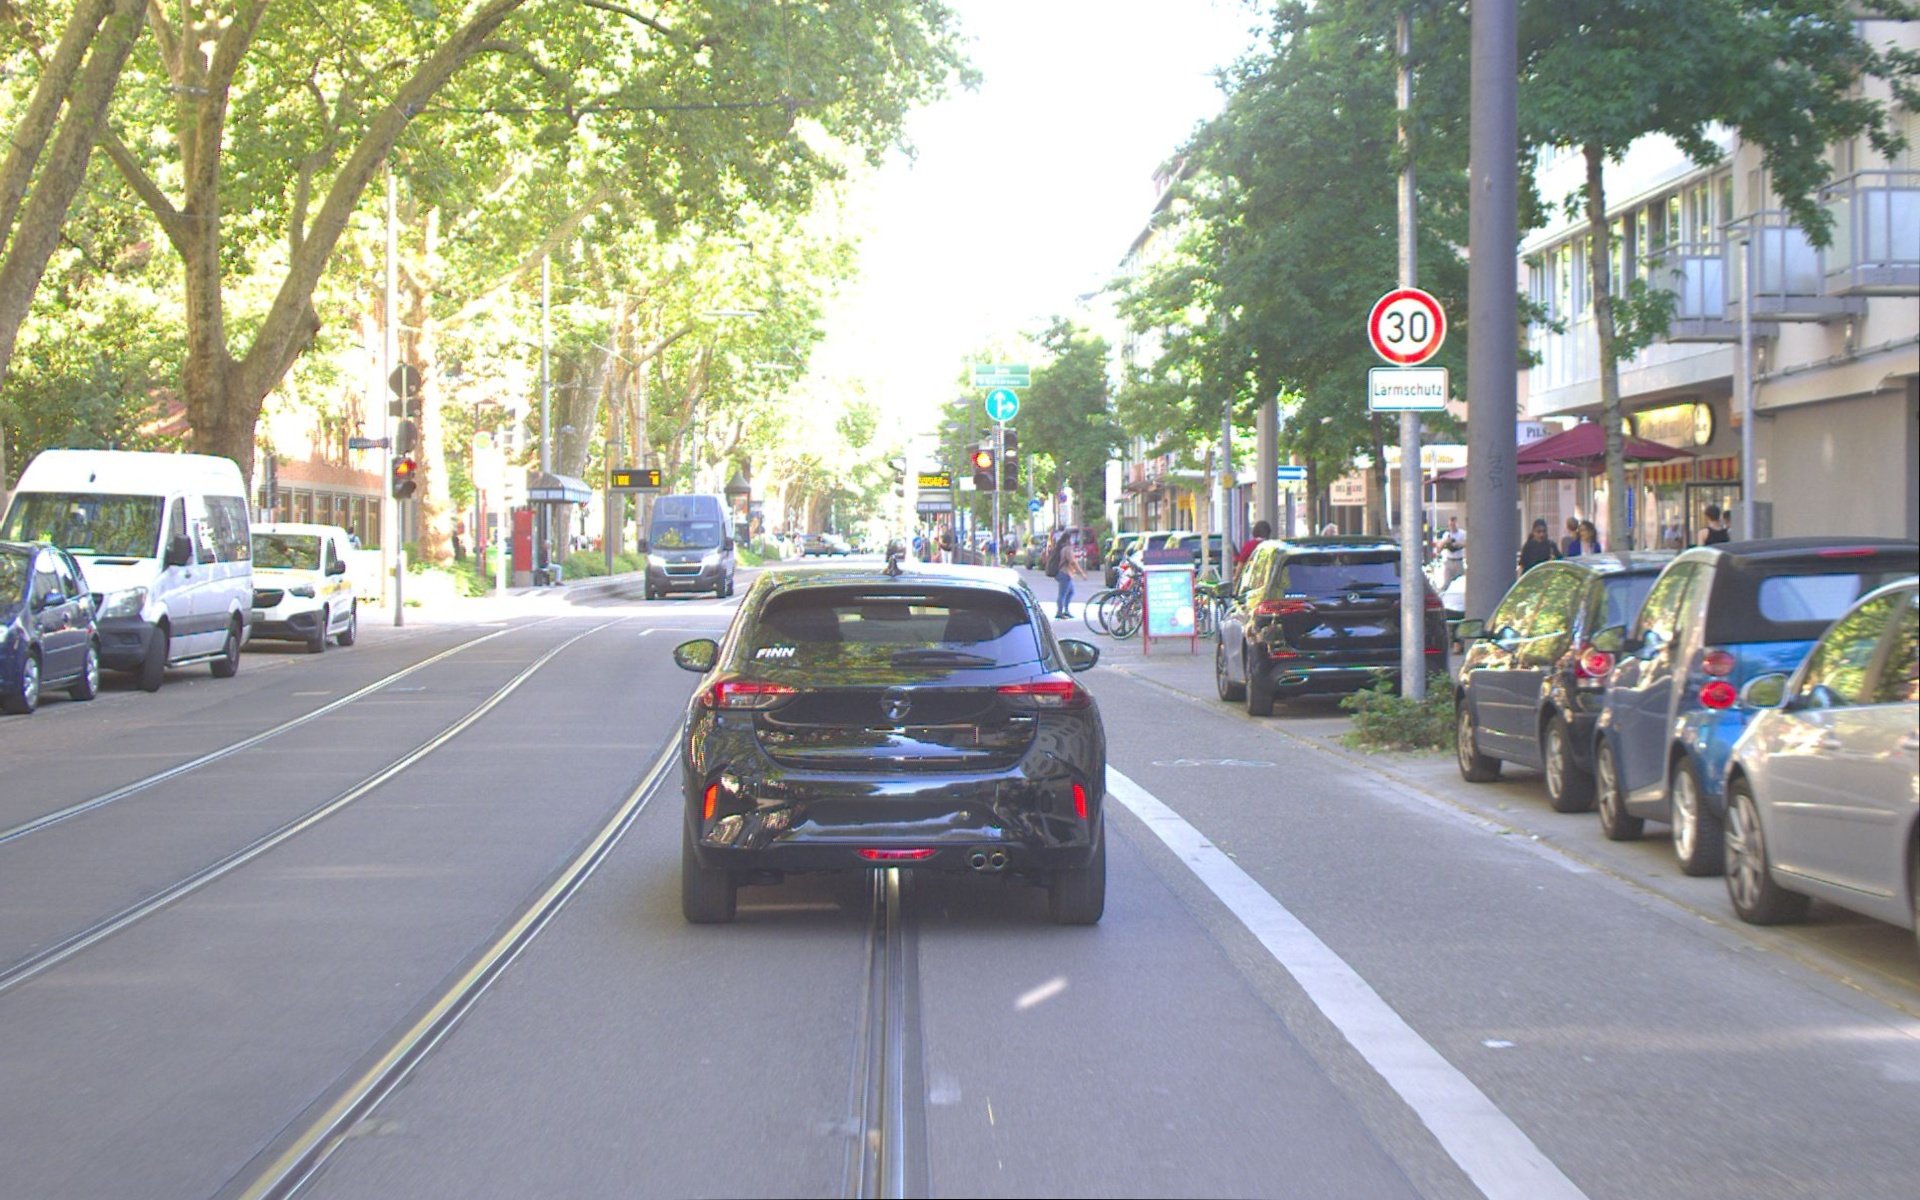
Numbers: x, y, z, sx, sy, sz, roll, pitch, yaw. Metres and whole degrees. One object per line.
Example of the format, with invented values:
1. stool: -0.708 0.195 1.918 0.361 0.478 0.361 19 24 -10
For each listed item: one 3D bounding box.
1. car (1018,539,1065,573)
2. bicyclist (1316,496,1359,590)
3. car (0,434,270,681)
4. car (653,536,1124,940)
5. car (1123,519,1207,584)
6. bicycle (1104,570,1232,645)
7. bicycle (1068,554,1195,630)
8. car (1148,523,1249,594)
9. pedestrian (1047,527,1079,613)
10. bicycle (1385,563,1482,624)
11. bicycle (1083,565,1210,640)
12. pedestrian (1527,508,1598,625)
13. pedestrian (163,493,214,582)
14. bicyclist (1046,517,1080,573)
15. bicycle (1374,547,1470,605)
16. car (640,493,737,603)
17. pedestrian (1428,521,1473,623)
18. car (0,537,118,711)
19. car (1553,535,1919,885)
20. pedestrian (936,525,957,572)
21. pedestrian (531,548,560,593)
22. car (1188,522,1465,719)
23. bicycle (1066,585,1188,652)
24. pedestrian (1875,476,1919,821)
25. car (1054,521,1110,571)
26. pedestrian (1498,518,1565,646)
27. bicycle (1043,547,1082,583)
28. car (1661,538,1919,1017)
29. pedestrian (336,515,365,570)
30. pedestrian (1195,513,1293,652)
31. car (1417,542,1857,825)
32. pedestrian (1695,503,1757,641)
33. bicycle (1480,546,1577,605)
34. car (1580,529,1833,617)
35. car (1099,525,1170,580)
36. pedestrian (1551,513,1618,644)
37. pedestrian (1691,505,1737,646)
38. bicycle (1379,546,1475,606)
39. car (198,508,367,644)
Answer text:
1. car: 3.698 -2.014 157.133 1.993 1.481 4.000 1 1 -1
2. bicyclist: 6.934 -1.044 63.225 0.677 1.711 0.965 1 0 1
3. car: -9.493 -0.479 38.971 2.108 2.568 6.024 1 1 0
4. car: -0.366 0.507 14.915 1.759 1.503 3.683 1 1 -3
5. car: 5.209 -1.227 87.778 1.799 1.600 4.415 1 1 -1
6. bicycle: 3.090 0.112 51.027 1.815 1.096 0.481 1 0 -9
7. bicycle: 2.508 -0.116 50.325 1.815 1.096 0.525 0 0 -2
8. car: 5.545 -0.966 80.374 1.993 1.610 4.445 0 1 -1
9. pedestrian: 1.890 -0.548 63.097 0.551 1.556 0.645 1 -1 3
10. bicycle: 9.779 -0.136 70.978 1.914 1.203 0.511 -1 2 -4
11. bicycle: 2.796 0.030 51.524 1.815 1.096 0.498 1 0 -9
12. pedestrian: 8.608 -0.482 49.139 0.676 1.653 0.814 1 0 -19
13. pedestrian: -16.398 -1.331 73.067 0.923 1.829 0.920 1 3 -5
14. bicyclist: 3.218 -1.714 107.500 0.860 1.753 1.054 1 0 -7
15. bicycle: 9.644 -0.505 71.773 1.914 1.203 0.511 0 1 -4
16. car: -7.038 -1.345 89.674 2.113 2.729 6.115 -1 1 -1
17. pedestrian: 8.657 -0.494 60.707 0.590 1.778 0.995 1 0 -3
18. car: -9.510 0.180 33.014 1.916 1.556 4.284 1 1 -2
19. car: 3.968 0.471 17.039 1.444 1.532 2.881 -2 1 -2
20. pedestrian: -0.466 -1.761 117.666 0.630 1.571 0.871 2 1 -1
21. pedestrian: -11.016 -0.788 91.340 0.705 1.164 0.660 -1 1 -4
22. car: 3.290 0.150 31.631 1.758 1.582 4.330 -3 1 -3
23. bicycle: 2.541 0.276 52.387 1.815 0.991 0.481 1 0 -3
24. pedestrian: 5.375 0.247 18.333 0.475 1.845 0.664 -8 1 -14
25. car: 4.876 -2.174 138.095 1.993 1.946 4.000 1 1 -2
26. pedestrian: 7.446 -0.242 44.824 0.642 1.632 0.870 -2 1 -3
27. bicycle: 3.199 -1.096 107.584 0.860 1.132 2.396 1 1 -7
28. car: 4.010 0.553 12.836 1.786 1.532 4.128 -2 1 -2
29. pedestrian: -18.781 -1.765 105.955 0.735 1.666 0.861 1 0 -1
30. pedestrian: 3.653 -0.229 44.298 1.044 1.752 0.878 1 1 -10
31. car: 3.988 0.423 20.870 1.622 1.476 3.890 -2 1 -4
32. pedestrian: 10.045 -0.368 45.052 0.526 1.799 0.630 1 1 42
33. bicycle: 11.813 -0.504 71.431 1.914 1.203 0.511 0 2 -4
34. car: 14.067 -0.493 64.931 4.247 1.587 1.967 1 0 -7
35. car: 5.267 -1.439 104.119 1.857 1.610 4.398 1 1 -1
36. pedestrian: 8.143 -0.281 44.870 0.596 1.672 0.935 -2 1 -3
37. pedestrian: 9.609 -0.313 43.825 0.431 1.790 0.489 1 0 -2
38. bicycle: 9.677 -0.497 71.239 1.914 1.203 0.511 -1 2 -4
39. car: -9.715 -0.353 49.587 1.763 1.844 4.319 1 1 -3
